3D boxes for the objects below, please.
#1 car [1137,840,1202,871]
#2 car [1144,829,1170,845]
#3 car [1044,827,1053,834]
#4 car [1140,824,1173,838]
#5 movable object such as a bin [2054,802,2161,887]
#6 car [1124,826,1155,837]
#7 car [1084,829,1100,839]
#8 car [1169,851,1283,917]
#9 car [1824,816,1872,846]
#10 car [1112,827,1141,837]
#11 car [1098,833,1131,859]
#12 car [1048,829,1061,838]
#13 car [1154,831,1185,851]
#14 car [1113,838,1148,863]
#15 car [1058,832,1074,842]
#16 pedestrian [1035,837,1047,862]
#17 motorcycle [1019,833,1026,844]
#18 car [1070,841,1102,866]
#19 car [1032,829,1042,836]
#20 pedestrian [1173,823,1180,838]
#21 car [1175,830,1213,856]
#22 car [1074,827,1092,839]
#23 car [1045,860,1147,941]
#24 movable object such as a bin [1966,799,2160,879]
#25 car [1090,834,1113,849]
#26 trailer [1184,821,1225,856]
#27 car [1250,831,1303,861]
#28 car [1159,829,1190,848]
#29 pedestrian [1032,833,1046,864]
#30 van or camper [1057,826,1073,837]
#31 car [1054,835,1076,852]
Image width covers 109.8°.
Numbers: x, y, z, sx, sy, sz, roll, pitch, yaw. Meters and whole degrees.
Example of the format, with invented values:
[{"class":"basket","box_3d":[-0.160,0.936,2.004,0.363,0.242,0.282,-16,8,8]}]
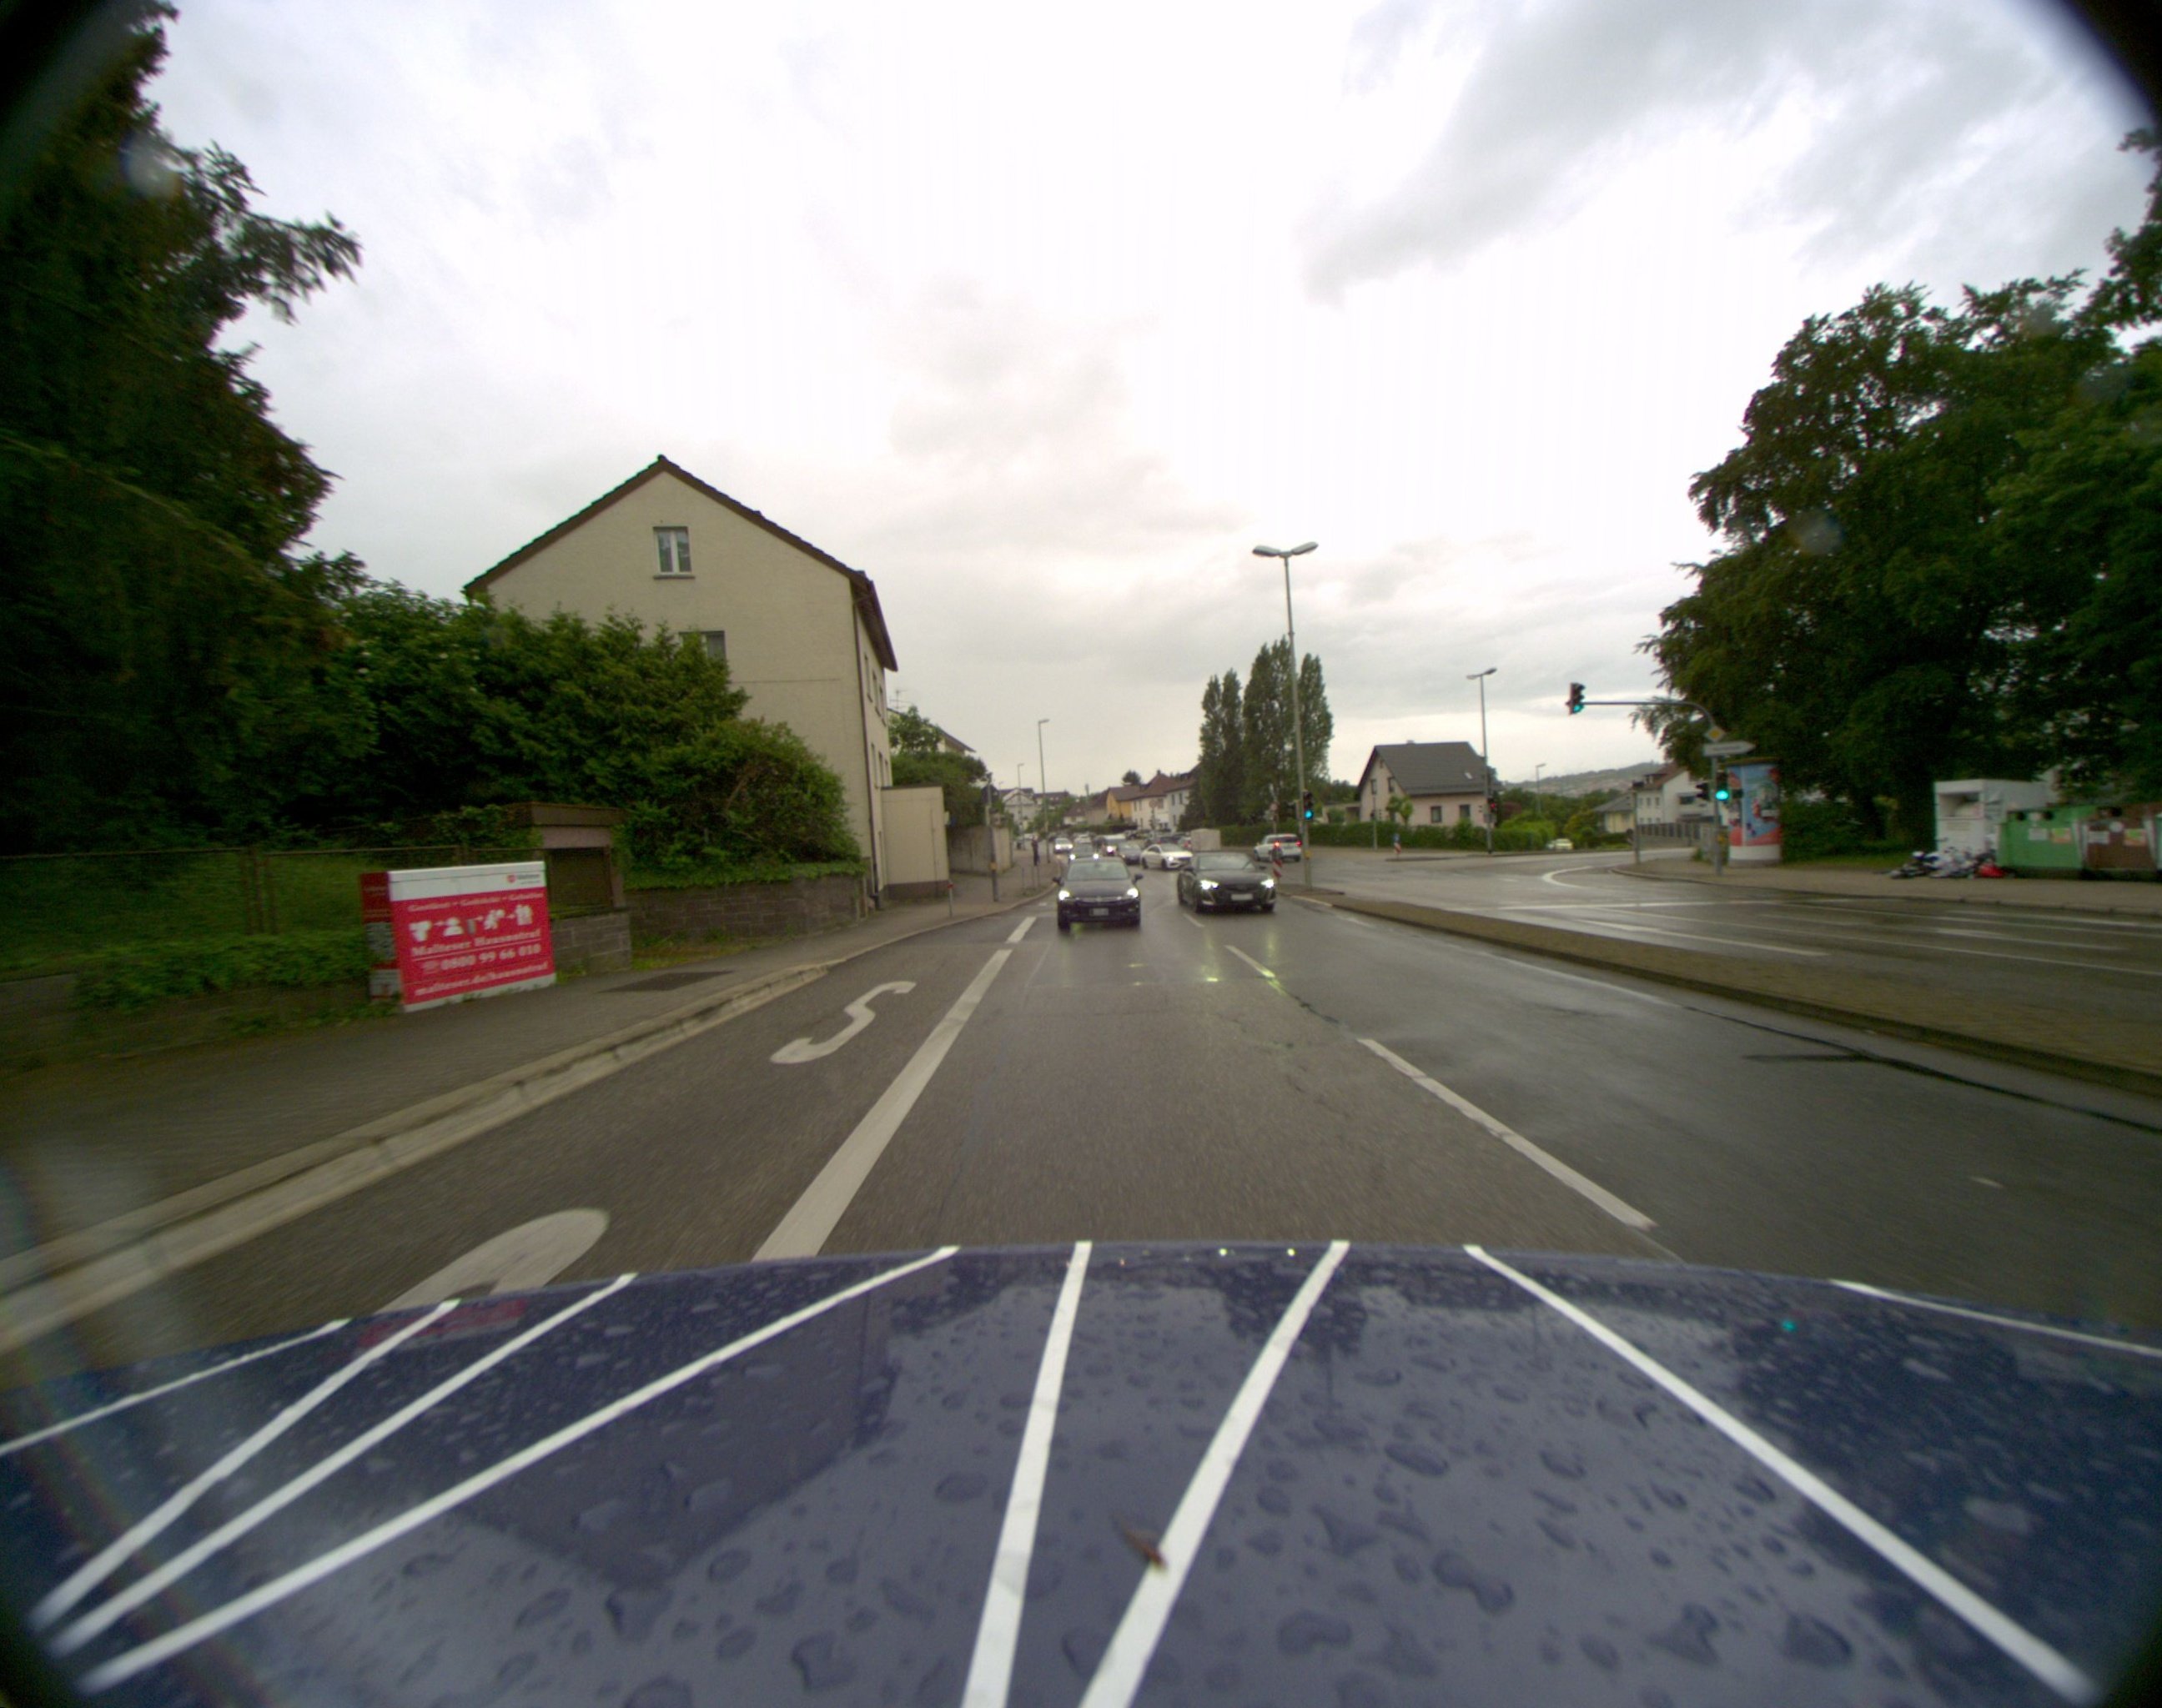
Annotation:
[{"class":"car","box_3d":[4.998,0.021,43.658,1.915,1.520,4.643,-3,3,-17]},{"class":"car","box_3d":[8.057,-1.805,81.040,1.810,1.560,4.137,-3,3,-8]},{"class":"car","box_3d":[-8.735,-6.334,202.606,2.000,1.565,3.995,-3,3,-8]},{"class":"car","box_3d":[10.240,-3.138,103.001,3.999,1.412,1.882,-6,3,-8]},{"class":"movable object such as a bin","box_3d":[21.007,-0.218,14.777,2.062,1.560,1.581,-2,1,3]},{"class":"car","box_3d":[8.654,-3.374,112.909,4.112,1.412,1.882,-5,3,-8]},{"class":"car","box_3d":[1.744,-3.177,121.539,1.810,1.408,3.995,-2,2,-8]},{"class":"car","box_3d":[3.560,0.668,19.598,1.910,1.390,4.856,-3,1,0]},{"class":"car","box_3d":[45.896,-1.402,45.507,1.933,1.694,4.203,0,3,45]},{"class":"car","box_3d":[7.133,-3.427,118.708,4.115,1.475,1.837,1,1,-15]},{"class":"car","box_3d":[2.553,-0.648,59.390,1.957,1.861,4.742,-2,2,-5]},{"class":"car","box_3d":[-4.693,-3.633,133.152,1.717,1.494,3.995,-3,3,-9]},{"class":"car","box_3d":[7.447,-1.162,64.456,1.846,1.543,4.381,-2,2,-4]},{"class":"car","box_3d":[3.295,-0.252,51.338,1.840,1.479,4.056,-3,3,-2]},{"class":"car","box_3d":[-2.364,-2.763,120.466,1.859,1.456,3.995,-3,2,-9]},{"class":"pedestrian","box_3d":[-2.852,-0.320,54.001,0.796,1.771,1.011,-2,3,-2]},{"class":"motorcycle","box_3d":[-7.312,-1.943,94.932,0.694,1.317,2.476,-3,3,-10]},{"class":"car","box_3d":[0.287,-0.018,49.955,1.841,1.448,4.000,-3,-1,-2]},{"class":"car","box_3d":[-10.012,-4.847,173.570,1.838,1.522,3.995,-2,2,-8]},{"class":"pedestrian","box_3d":[12.191,-3.008,97.250,0.670,1.779,0.539,-7,4,-5]},{"class":"car","box_3d":[8.065,-0.835,54.759,1.904,1.674,4.476,-3,3,-1]},{"class":"car","box_3d":[0.205,-2.855,103.060,1.841,1.548,4.765,-2,3,-6]},{"class":"car","box_3d":[0.410,0.872,16.077,1.840,1.390,4.001,-2,0,4]},{"class":"movable object such as a bin","box_3d":[21.064,-0.308,16.373,2.062,1.560,1.581,-2,1,3]},{"class":"car","box_3d":[2.427,-1.558,91.648,2.000,1.565,3.995,-2,3,-9]},{"class":"trailer","box_3d":[8.160,-1.022,50.473,1.901,2.167,4.034,-3,2,-2]},{"class":"car","box_3d":[11.925,-0.549,46.609,1.829,1.648,4.463,-2,2,-4]},{"class":"car","box_3d":[9.104,-1.566,74.254,1.810,1.660,4.592,-3,3,-8]},{"class":"pedestrian","box_3d":[-2.871,-0.384,51.958,0.799,2.003,0.734,-3,3,-2]},{"class":"van or camper","box_3d":[-3.174,-4.332,147.464,2.191,2.003,5.127,-3,3,-10]},{"class":"car","box_3d":[-1.653,-1.072,77.699,1.841,1.473,3.995,-3,3,-6]}]
